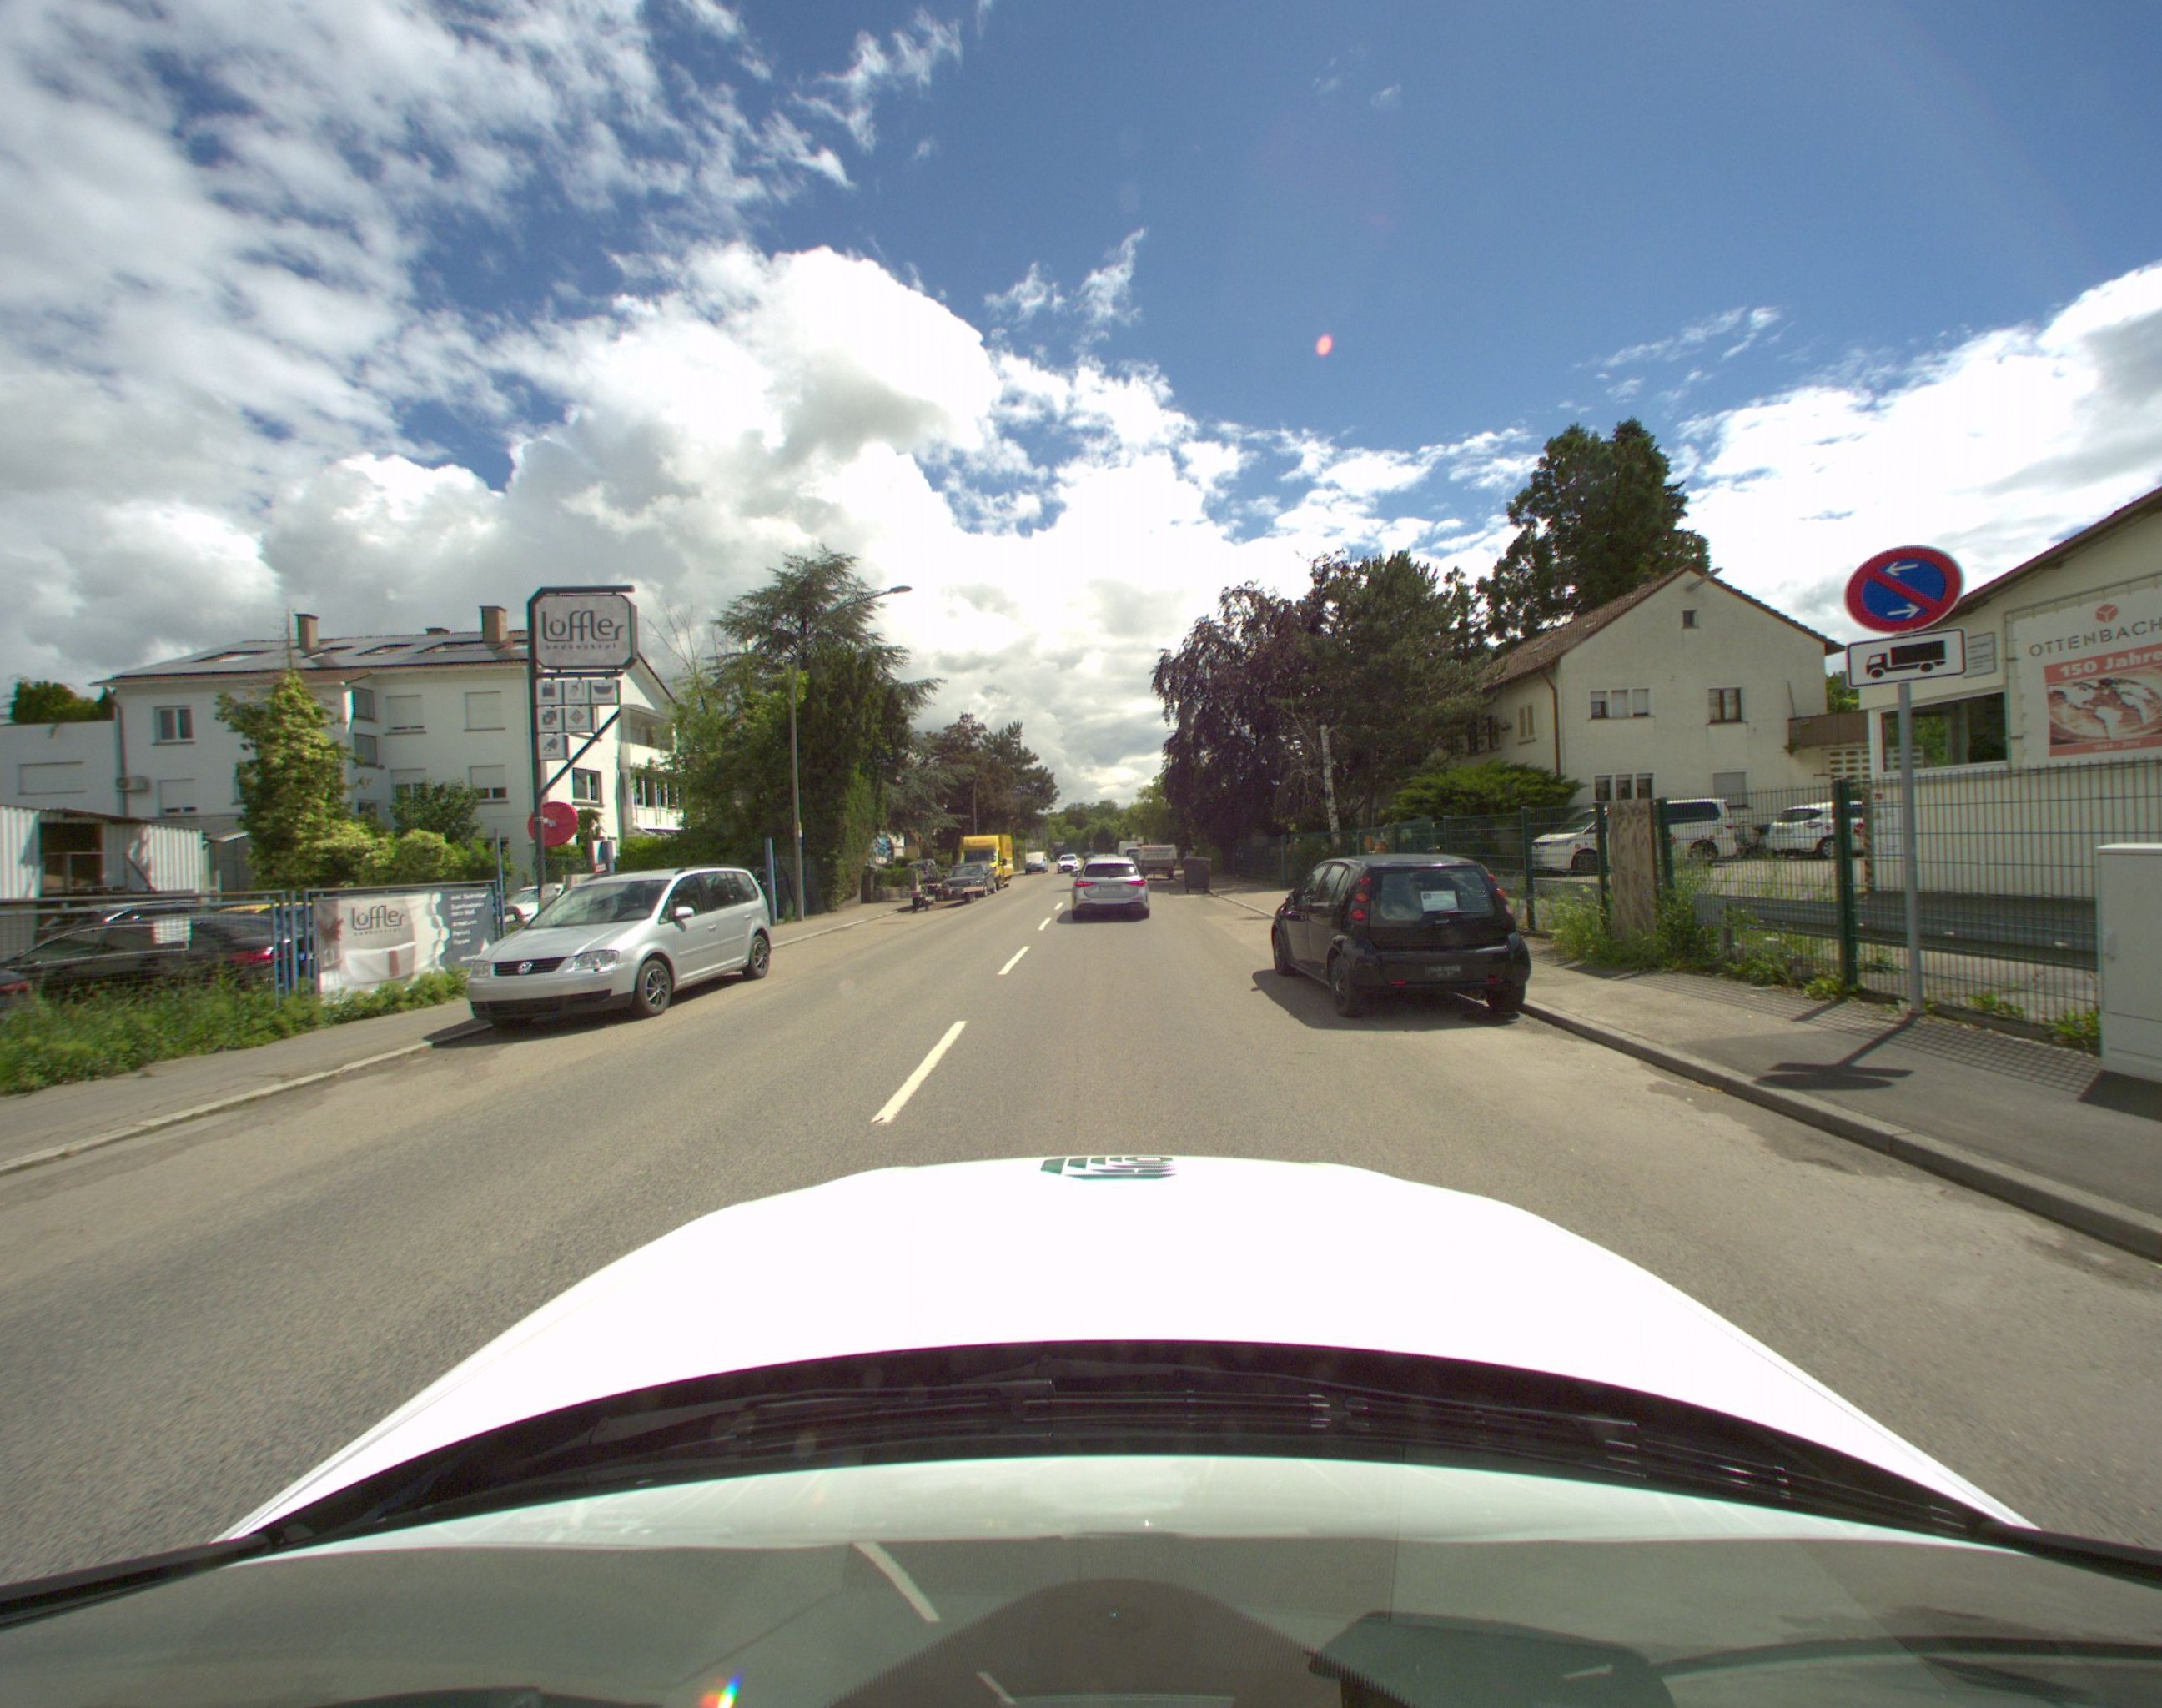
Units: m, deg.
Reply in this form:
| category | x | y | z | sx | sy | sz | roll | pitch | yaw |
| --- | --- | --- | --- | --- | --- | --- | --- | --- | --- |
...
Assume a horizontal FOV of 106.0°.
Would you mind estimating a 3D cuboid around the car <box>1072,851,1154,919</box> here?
| category | x | y | z | sx | sy | sz | roll | pitch | yaw |
| --- | --- | --- | --- | --- | --- | --- | --- | --- | --- |
| car | 0.704 | 0.704 | 20.245 | 1.779 | 1.484 | 4.315 | -1 | 0 | 0 |

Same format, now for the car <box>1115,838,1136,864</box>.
| category | x | y | z | sx | sy | sz | roll | pitch | yaw |
| --- | --- | --- | --- | --- | --- | --- | --- | --- | --- |
| car | 4.511 | -0.241 | 82.672 | 1.779 | 2.518 | 4.315 | -1 | -1 | 0 |

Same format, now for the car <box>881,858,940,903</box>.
| category | x | y | z | sx | sy | sz | roll | pitch | yaw |
| --- | --- | --- | --- | --- | --- | --- | --- | --- | --- |
| car | -8.311 | 1.248 | 40.004 | 1.986 | 2.013 | 4.001 | 0 | 0 | 1 |

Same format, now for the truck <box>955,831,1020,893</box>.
| category | x | y | z | sx | sy | sz | roll | pitch | yaw |
| --- | --- | --- | --- | --- | --- | --- | --- | --- | --- |
| truck | -4.753 | 0.342 | 42.521 | 2.067 | 2.814 | 7.082 | -4 | 0 | 3 |

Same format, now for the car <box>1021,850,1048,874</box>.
| category | x | y | z | sx | sy | sz | roll | pitch | yaw |
| --- | --- | --- | --- | --- | --- | --- | --- | --- | --- |
| car | -4.051 | 0.685 | 71.762 | 1.927 | 1.918 | 4.364 | -3 | 0 | 1 |

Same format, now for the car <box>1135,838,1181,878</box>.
| category | x | y | z | sx | sy | sz | roll | pitch | yaw |
| --- | --- | --- | --- | --- | --- | --- | --- | --- | --- |
| car | 4.169 | 0.182 | 45.163 | 2.136 | 1.984 | 5.263 | -3 | 0 | 2 |

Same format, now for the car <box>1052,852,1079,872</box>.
| category | x | y | z | sx | sy | sz | roll | pitch | yaw |
| --- | --- | --- | --- | --- | --- | --- | --- | --- | --- |
| car | -1.240 | 0.657 | 67.398 | 1.927 | 1.492 | 4.364 | -3 | 0 | 1 |

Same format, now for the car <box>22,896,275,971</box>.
| category | x | y | z | sx | sy | sz | roll | pitch | yaw |
| --- | --- | --- | --- | --- | --- | --- | --- | --- | --- |
| car | -25.922 | 2.131 | 22.936 | 1.988 | 1.544 | 4.375 | -3 | 1 | -1 |

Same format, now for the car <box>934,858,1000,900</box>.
| category | x | y | z | sx | sy | sz | roll | pitch | yaw |
| --- | --- | --- | --- | --- | --- | --- | --- | --- | --- |
| car | -4.745 | 1.023 | 34.609 | 2.068 | 1.477 | 4.456 | -4 | 0 | 0 |

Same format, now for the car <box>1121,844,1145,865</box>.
| category | x | y | z | sx | sy | sz | roll | pitch | yaw |
| --- | --- | --- | --- | --- | --- | --- | --- | --- | --- |
| car | 4.473 | 0.067 | 70.424 | 1.779 | 1.715 | 4.315 | -1 | 0 | 0 |

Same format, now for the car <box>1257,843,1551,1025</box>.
| category | x | y | z | sx | sy | sz | roll | pitch | yaw |
| --- | --- | --- | --- | --- | --- | --- | --- | --- | --- |
| car | 3.129 | 0.664 | 8.771 | 1.683 | 1.450 | 3.850 | -3 | 0 | 2 |

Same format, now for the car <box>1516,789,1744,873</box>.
| category | x | y | z | sx | sy | sz | roll | pitch | yaw |
| --- | --- | --- | --- | --- | --- | --- | --- | --- | --- |
| car | 15.529 | -0.622 | 23.287 | 4.994 | 1.929 | 2.002 | -4 | 0 | 4 |

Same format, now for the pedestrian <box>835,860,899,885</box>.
| category | x | y | z | sx | sy | sz | roll | pitch | yaw |
| --- | --- | --- | --- | --- | --- | --- | --- | --- | --- |
| pedestrian | -15.015 | 1.278 | 57.214 | 3.978 | 1.706 | 1.998 | 0 | 0 | -3 |

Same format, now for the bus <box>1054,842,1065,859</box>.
| category | x | y | z | sx | sy | sz | roll | pitch | yaw |
| --- | --- | --- | --- | --- | --- | --- | --- | --- | --- |
| bus | -4.421 | -0.770 | 169.881 | 1.989 | 3.364 | 6.973 | 0 | 0 | -4 |

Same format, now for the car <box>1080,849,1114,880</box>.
| category | x | y | z | sx | sy | sz | roll | pitch | yaw |
| --- | --- | --- | --- | --- | --- | --- | --- | --- | --- |
| car | 0.847 | 0.549 | 44.683 | 1.750 | 1.558 | 4.000 | -2 | 0 | 0 |

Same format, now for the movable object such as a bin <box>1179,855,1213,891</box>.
| category | x | y | z | sx | sy | sz | roll | pitch | yaw |
| --- | --- | --- | --- | --- | --- | --- | --- | --- | --- |
| movable object such as a bin | 4.186 | 0.676 | 29.702 | 1.080 | 1.271 | 1.380 | 0 | 0 | 2 |

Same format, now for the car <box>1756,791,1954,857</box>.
| category | x | y | z | sx | sy | sz | roll | pitch | yaw |
| --- | --- | --- | --- | --- | --- | --- | --- | --- | --- |
| car | 21.683 | -0.814 | 22.933 | 3.868 | 1.523 | 1.661 | -4 | 0 | 3 |

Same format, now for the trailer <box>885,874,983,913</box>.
| category | x | y | z | sx | sy | sz | roll | pitch | yaw |
| --- | --- | --- | --- | --- | --- | --- | --- | --- | --- |
| trailer | -4.833 | 1.272 | 27.803 | 2.221 | 0.925 | 5.948 | -2 | 0 | 0 |

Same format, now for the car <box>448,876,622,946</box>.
| category | x | y | z | sx | sy | sz | roll | pitch | yaw |
| --- | --- | --- | --- | --- | --- | --- | --- | --- | --- |
| car | -15.475 | 1.548 | 23.445 | 1.988 | 1.544 | 4.375 | -3 | 1 | -1 |

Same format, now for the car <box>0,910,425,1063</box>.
| category | x | y | z | sx | sy | sz | roll | pitch | yaw |
| --- | --- | --- | --- | --- | --- | --- | --- | --- | --- |
| car | -10.927 | 1.540 | 9.890 | 4.266 | 1.485 | 1.991 | -3 | -3 | 0 |

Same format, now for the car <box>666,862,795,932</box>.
| category | x | y | z | sx | sy | sz | roll | pitch | yaw |
| --- | --- | --- | --- | --- | --- | --- | --- | --- | --- |
| car | -9.896 | 1.143 | 23.373 | 1.989 | 1.657 | 3.996 | -3 | 0 | -3 |

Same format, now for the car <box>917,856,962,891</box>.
| category | x | y | z | sx | sy | sz | roll | pitch | yaw |
| --- | --- | --- | --- | --- | --- | --- | --- | --- | --- |
| car | -8.807 | 1.187 | 51.031 | 1.986 | 2.013 | 4.001 | 0 | 0 | 1 |

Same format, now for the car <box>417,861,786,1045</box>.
| category | x | y | z | sx | sy | sz | roll | pitch | yaw |
| --- | --- | --- | --- | --- | --- | --- | --- | --- | --- |
| car | -5.420 | 0.976 | 10.044 | 1.785 | 1.603 | 4.364 | -3 | 0 | 1 |

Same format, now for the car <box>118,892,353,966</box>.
| category | x | y | z | sx | sy | sz | roll | pitch | yaw |
| --- | --- | --- | --- | --- | --- | --- | --- | --- | --- |
| car | -23.640 | 2.017 | 23.076 | 1.988 | 1.544 | 4.375 | -3 | 1 | -1 |

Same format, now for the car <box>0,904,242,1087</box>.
| category | x | y | z | sx | sy | sz | roll | pitch | yaw |
| --- | --- | --- | --- | --- | --- | --- | --- | --- | --- |
| car | -11.005 | 1.323 | 7.584 | 4.266 | 1.485 | 1.991 | -3 | -3 | 0 |

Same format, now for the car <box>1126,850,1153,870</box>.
| category | x | y | z | sx | sy | sz | roll | pitch | yaw |
| --- | --- | --- | --- | --- | --- | --- | --- | --- | --- |
| car | 4.673 | 0.474 | 65.276 | 1.779 | 1.484 | 4.315 | -1 | 0 | 0 |
